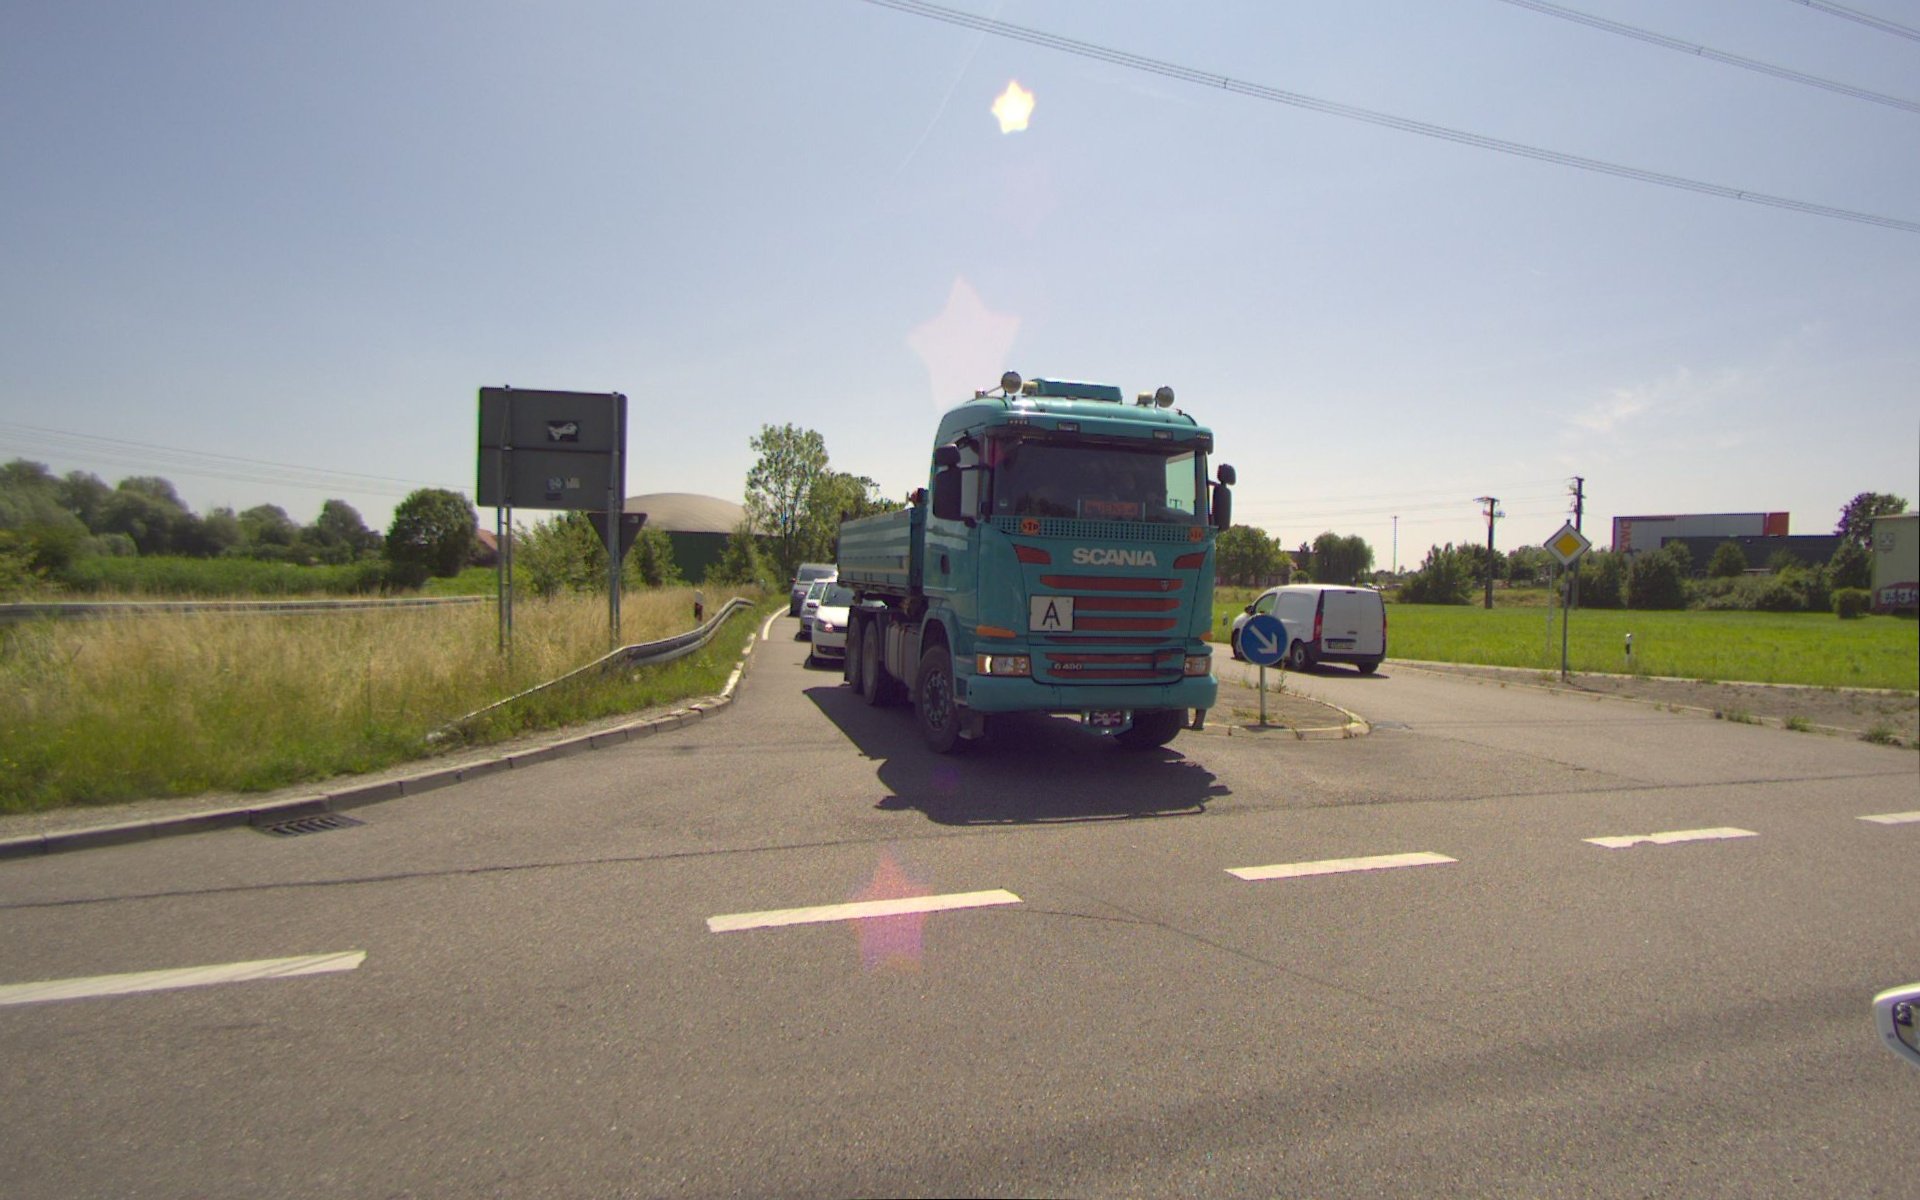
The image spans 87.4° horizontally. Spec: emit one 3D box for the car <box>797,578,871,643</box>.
[{"bbox_3d":[-3.250,0.219,25.477,1.687,1.490,4.439,1,1,-9],"label":"car"}]

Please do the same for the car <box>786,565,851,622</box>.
[{"bbox_3d":[-5.169,-0.279,36.183,2.051,1.893,4.941,0,1,-11],"label":"car"}]

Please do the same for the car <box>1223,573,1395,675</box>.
[{"bbox_3d":[7.521,0.469,22.096,1.800,1.997,3.992,2,0,-10],"label":"car"}]

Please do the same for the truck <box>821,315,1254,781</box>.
[{"bbox_3d":[0.204,-0.519,12.309,2.458,3.785,7.899,1,2,-17],"label":"truck"}]

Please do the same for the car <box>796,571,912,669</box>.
[{"bbox_3d":[-2.012,0.311,19.381,1.931,1.634,4.551,1,1,-5],"label":"car"}]
